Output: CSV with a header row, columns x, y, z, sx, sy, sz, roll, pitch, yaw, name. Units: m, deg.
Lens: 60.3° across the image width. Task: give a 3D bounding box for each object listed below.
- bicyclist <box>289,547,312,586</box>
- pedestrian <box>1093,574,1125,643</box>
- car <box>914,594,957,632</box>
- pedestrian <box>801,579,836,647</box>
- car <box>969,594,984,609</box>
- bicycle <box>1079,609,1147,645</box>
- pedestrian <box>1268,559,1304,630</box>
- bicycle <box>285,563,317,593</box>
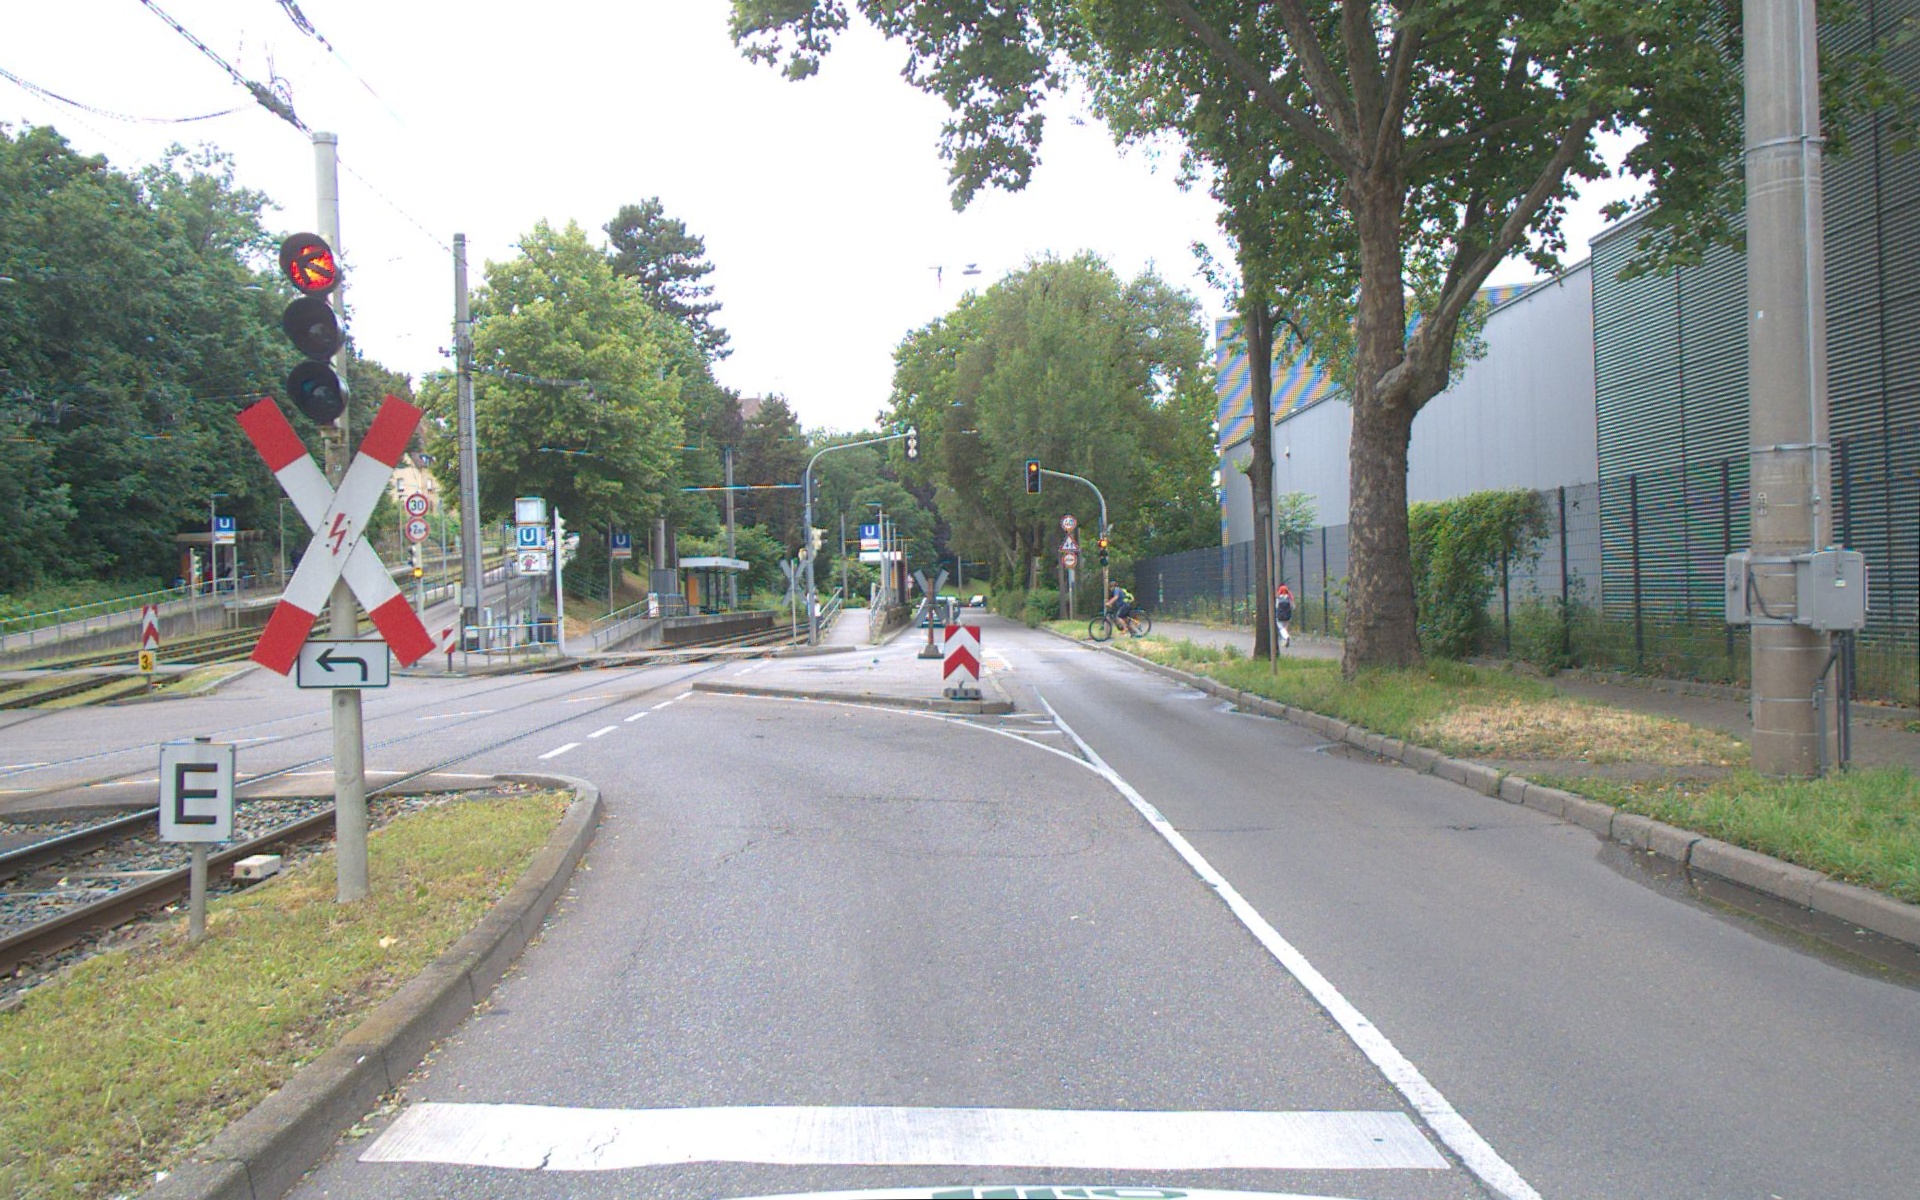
x,y,z,sx,sy,sz,roll,pitch,yaw,name
-33.027,-1.689,82.857,0.806,1.881,1.050,-2,3,-9,bicyclist
4.562,0.259,50.724,0.911,2.049,0.668,-2,0,4,pedestrian
-1.156,0.599,78.418,1.953,1.691,3.999,-2,0,-1,car
-4.028,0.367,47.180,0.888,1.885,0.771,-2,0,-1,pedestrian
2.171,0.189,219.208,1.953,1.690,4.000,4,0,0,car
4.689,0.831,50.729,2.031,1.024,0.668,-2,0,5,bicycle
7.443,-0.130,37.777,0.652,1.580,0.935,-2,0,5,pedestrian
-33.001,-1.113,82.840,0.809,1.366,2.991,-2,3,-9,bicycle
